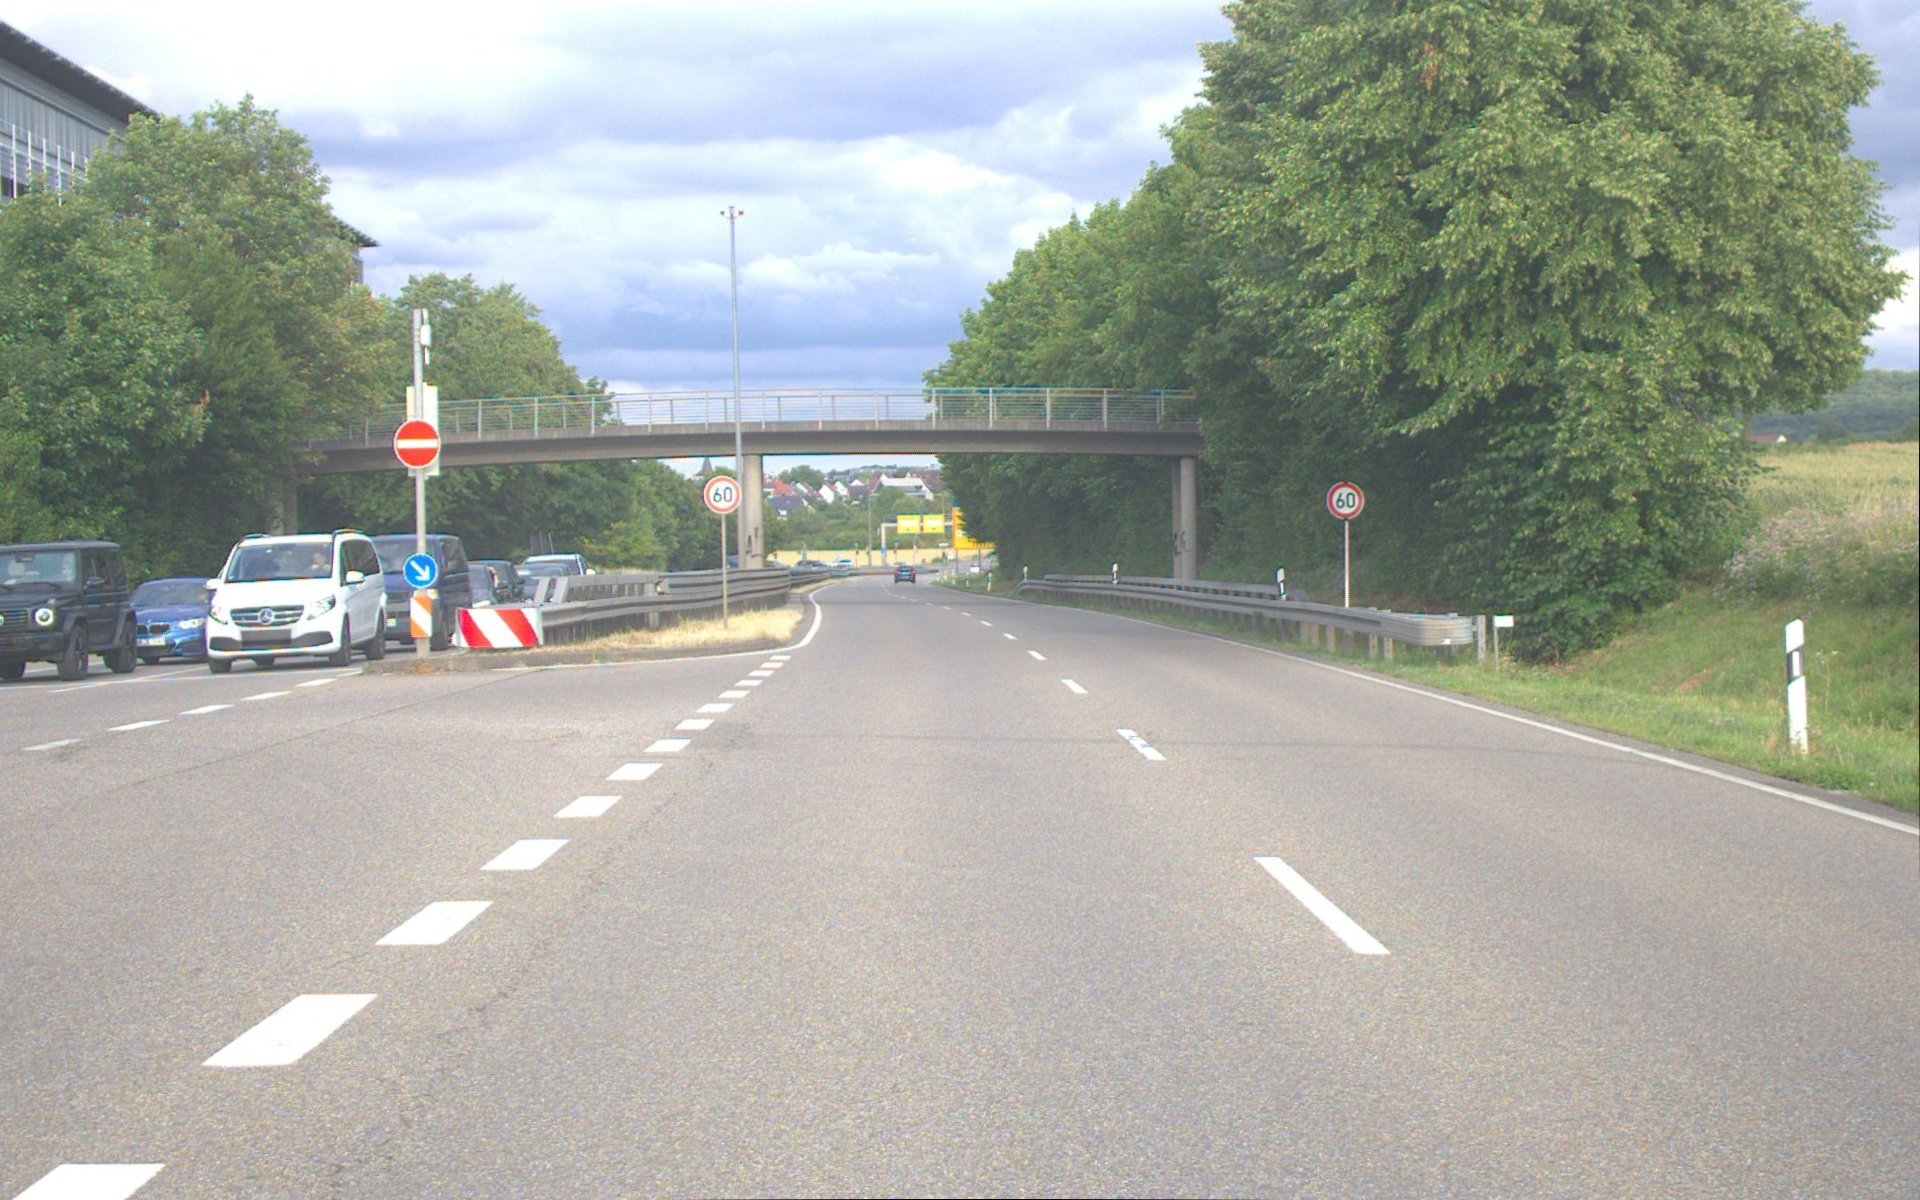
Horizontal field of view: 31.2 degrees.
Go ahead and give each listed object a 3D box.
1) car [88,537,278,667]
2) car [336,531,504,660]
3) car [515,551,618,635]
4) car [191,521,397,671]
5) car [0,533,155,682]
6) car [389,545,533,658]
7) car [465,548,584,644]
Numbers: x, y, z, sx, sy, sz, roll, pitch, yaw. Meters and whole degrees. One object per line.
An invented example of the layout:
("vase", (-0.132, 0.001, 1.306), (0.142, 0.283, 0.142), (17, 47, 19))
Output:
("car", (-12.746, 0.010, 56.731), (2.083, 2.007, 5.217), (1, 0, -2))
("car", (-8.902, -0.093, 57.077), (2.083, 2.007, 5.217), (1, 0, -2))
("car", (-9.730, -0.194, 85.441), (2.083, 2.007, 5.217), (1, 0, -2))
("car", (-9.480, -0.077, 49.340), (2.083, 2.007, 5.217), (1, 0, -2))
("car", (-13.115, 0.070, 49.230), (2.083, 2.007, 5.217), (1, 0, -2))
("car", (-9.322, -0.001, 64.644), (2.083, 2.007, 5.217), (1, 0, -2))
("car", (-9.537, -0.103, 75.624), (2.083, 2.007, 5.217), (1, 0, -2))
